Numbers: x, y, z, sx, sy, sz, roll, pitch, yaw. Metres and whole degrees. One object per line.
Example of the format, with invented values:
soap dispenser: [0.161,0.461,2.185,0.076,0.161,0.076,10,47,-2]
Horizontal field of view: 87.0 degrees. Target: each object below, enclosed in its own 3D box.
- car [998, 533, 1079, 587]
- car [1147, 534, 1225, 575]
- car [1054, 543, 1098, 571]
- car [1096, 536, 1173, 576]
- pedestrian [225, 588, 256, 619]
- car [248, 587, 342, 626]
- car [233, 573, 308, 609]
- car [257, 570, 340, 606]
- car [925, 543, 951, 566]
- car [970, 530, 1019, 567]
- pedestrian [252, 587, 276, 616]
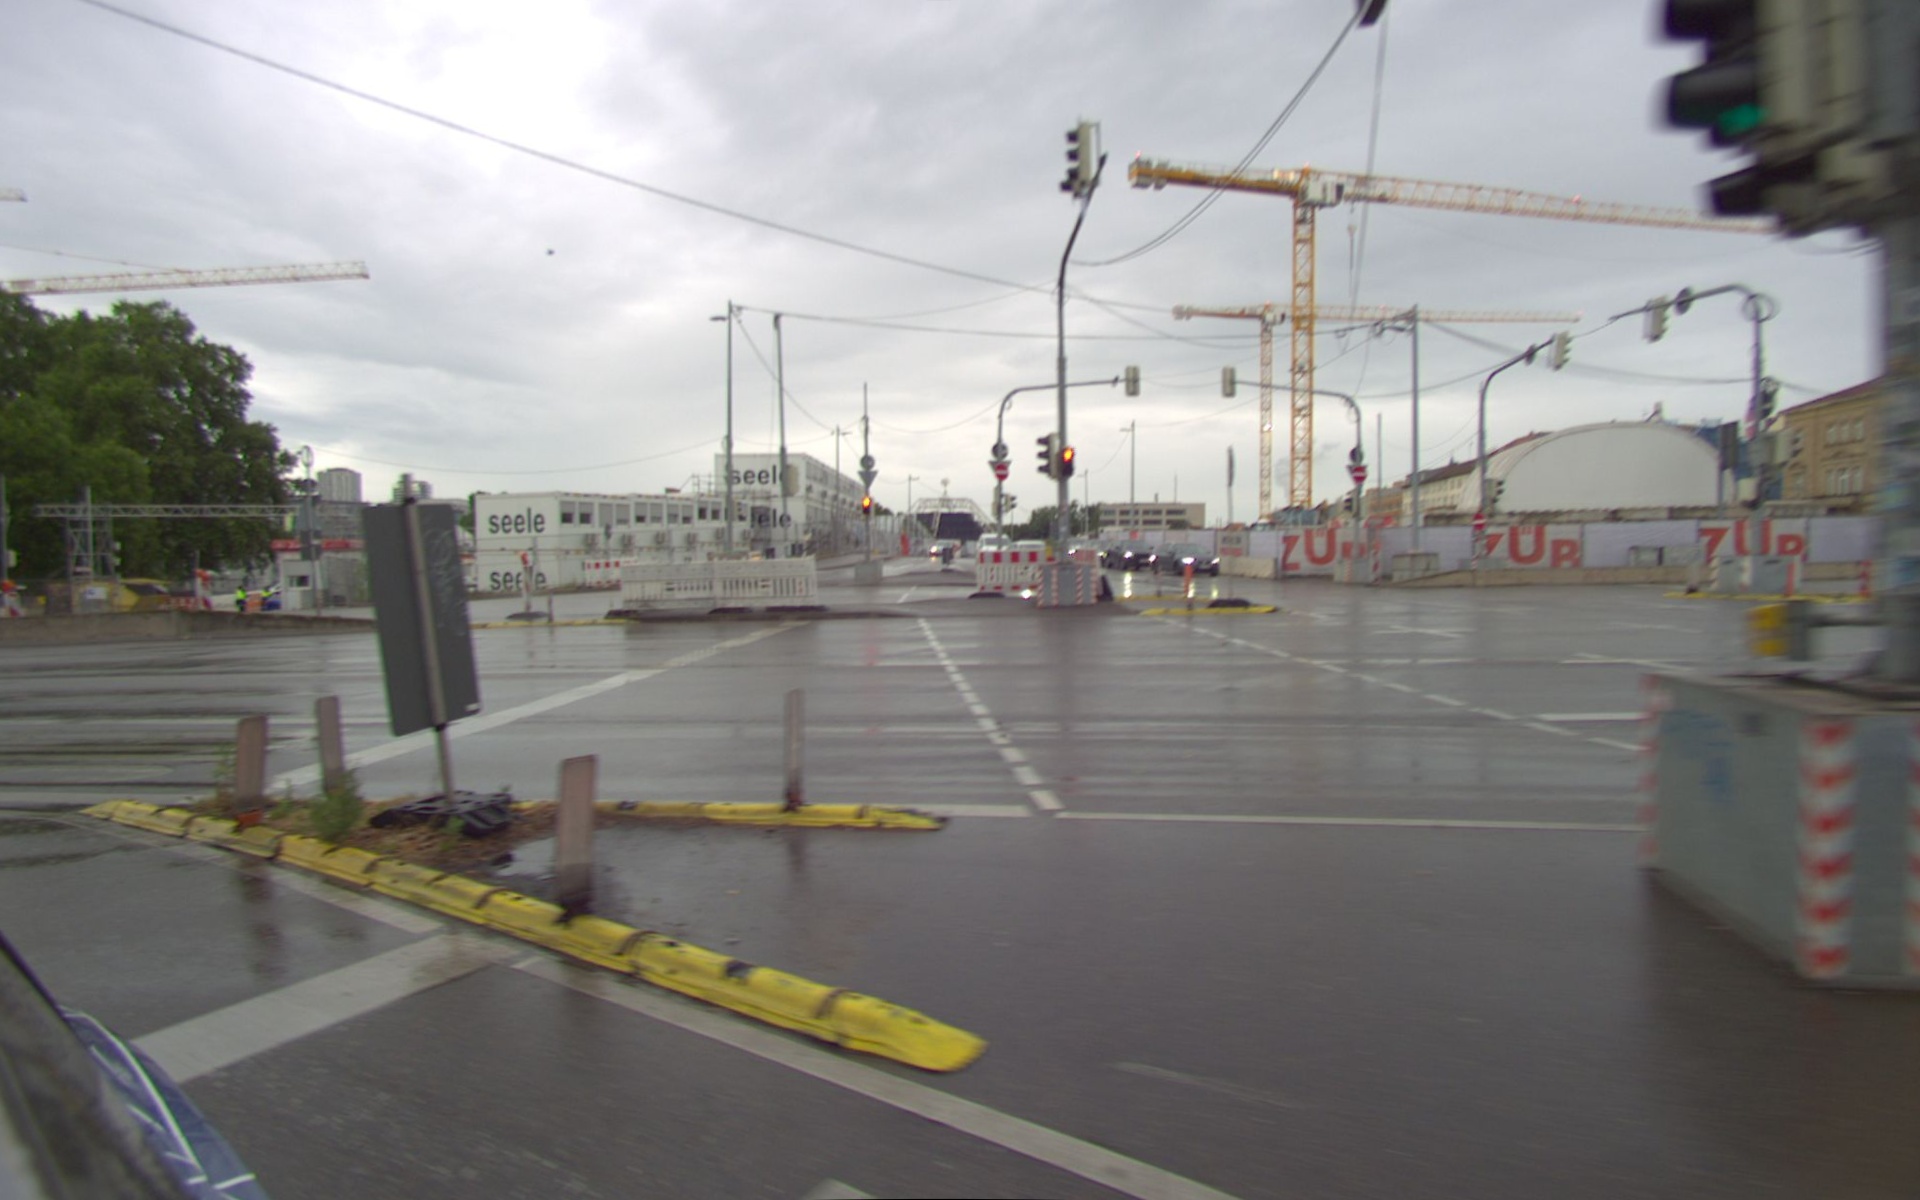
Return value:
car: [3.174,-1.652,42.015,1.967,2.028,4.435,-3,2,-14]
car: [9.491,-1.905,42.750,1.831,1.577,3.810,-3,3,-9]
car: [7.139,-2.664,62.637,1.971,1.569,4.528,-3,2,-2]
car: [8.295,-2.089,48.462,1.967,1.730,4.435,-3,2,-14]
pedestrian: [-34.091,0.163,47.959,0.830,1.362,0.741,-2,2,17]
car: [-31.872,0.289,48.646,1.971,1.519,4.004,-3,4,-3]
car: [-50.043,-0.700,73.516,3.932,2.401,2.006,-3,2,-16]
car: [-49.785,-0.913,76.254,4.864,2.401,2.007,-4,2,-25]
car: [-1.838,-3.840,85.324,1.972,1.785,4.357,-3,3,0]
car: [1.803,-2.744,54.266,1.969,1.785,4.363,-3,3,-5]
pedestrian: [-33.624,0.068,48.885,0.732,1.362,0.841,-4,3,-25]
